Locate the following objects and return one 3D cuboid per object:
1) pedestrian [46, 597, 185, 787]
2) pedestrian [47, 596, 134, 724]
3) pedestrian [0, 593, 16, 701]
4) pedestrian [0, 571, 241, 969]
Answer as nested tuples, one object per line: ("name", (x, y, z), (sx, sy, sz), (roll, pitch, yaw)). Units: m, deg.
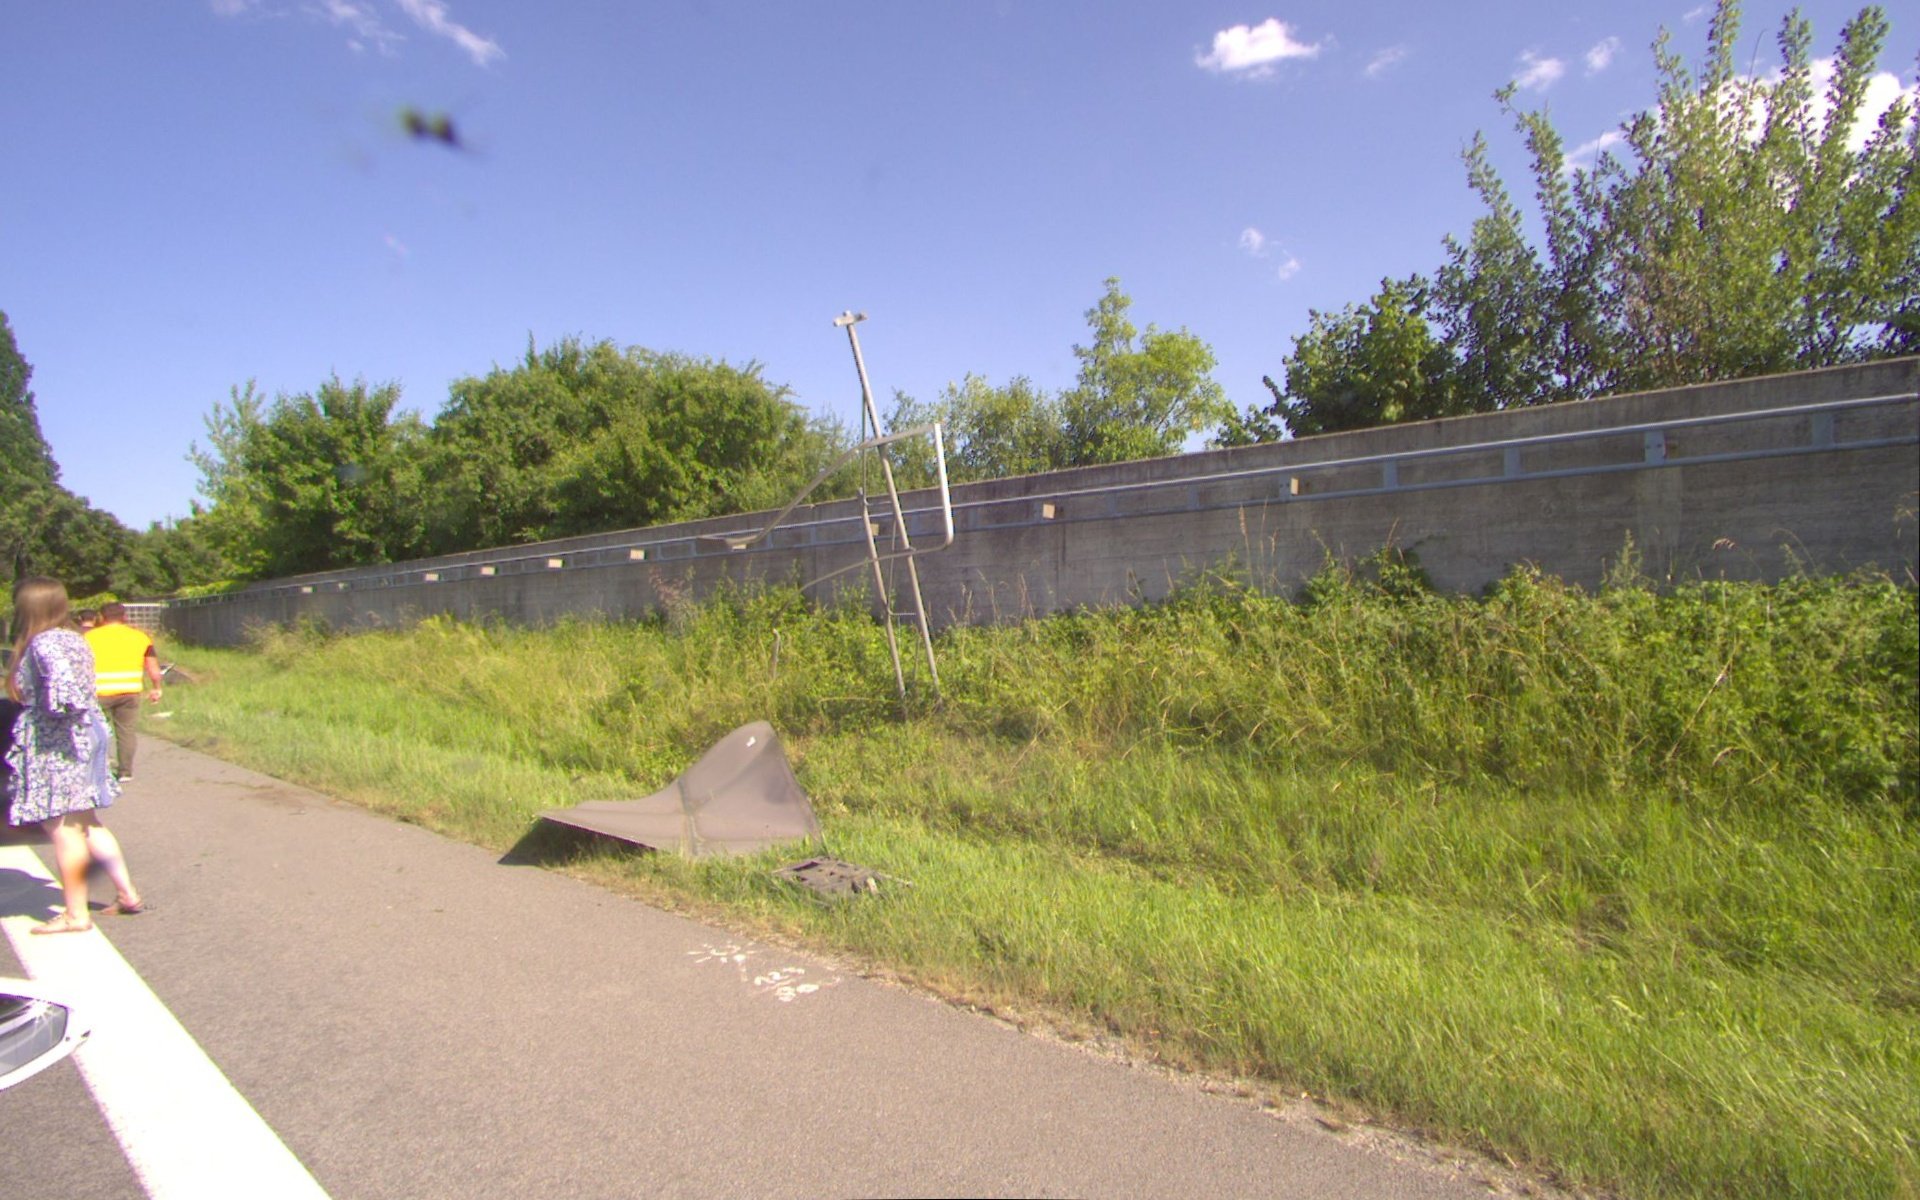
("pedestrian", (-8.103, 0.822, 9.636), (0.950, 1.675, 1.267), (-1, 0, -40))
("pedestrian", (-12.378, 0.842, 14.260), (0.889, 1.747, 0.747), (1, -2, -43))
("pedestrian", (-16.287, 0.776, 16.649), (0.806, 1.782, 0.821), (1, -2, -42))
("pedestrian", (-4.264, 0.740, 4.843), (0.883, 1.718, 1.118), (0, 0, 43))
